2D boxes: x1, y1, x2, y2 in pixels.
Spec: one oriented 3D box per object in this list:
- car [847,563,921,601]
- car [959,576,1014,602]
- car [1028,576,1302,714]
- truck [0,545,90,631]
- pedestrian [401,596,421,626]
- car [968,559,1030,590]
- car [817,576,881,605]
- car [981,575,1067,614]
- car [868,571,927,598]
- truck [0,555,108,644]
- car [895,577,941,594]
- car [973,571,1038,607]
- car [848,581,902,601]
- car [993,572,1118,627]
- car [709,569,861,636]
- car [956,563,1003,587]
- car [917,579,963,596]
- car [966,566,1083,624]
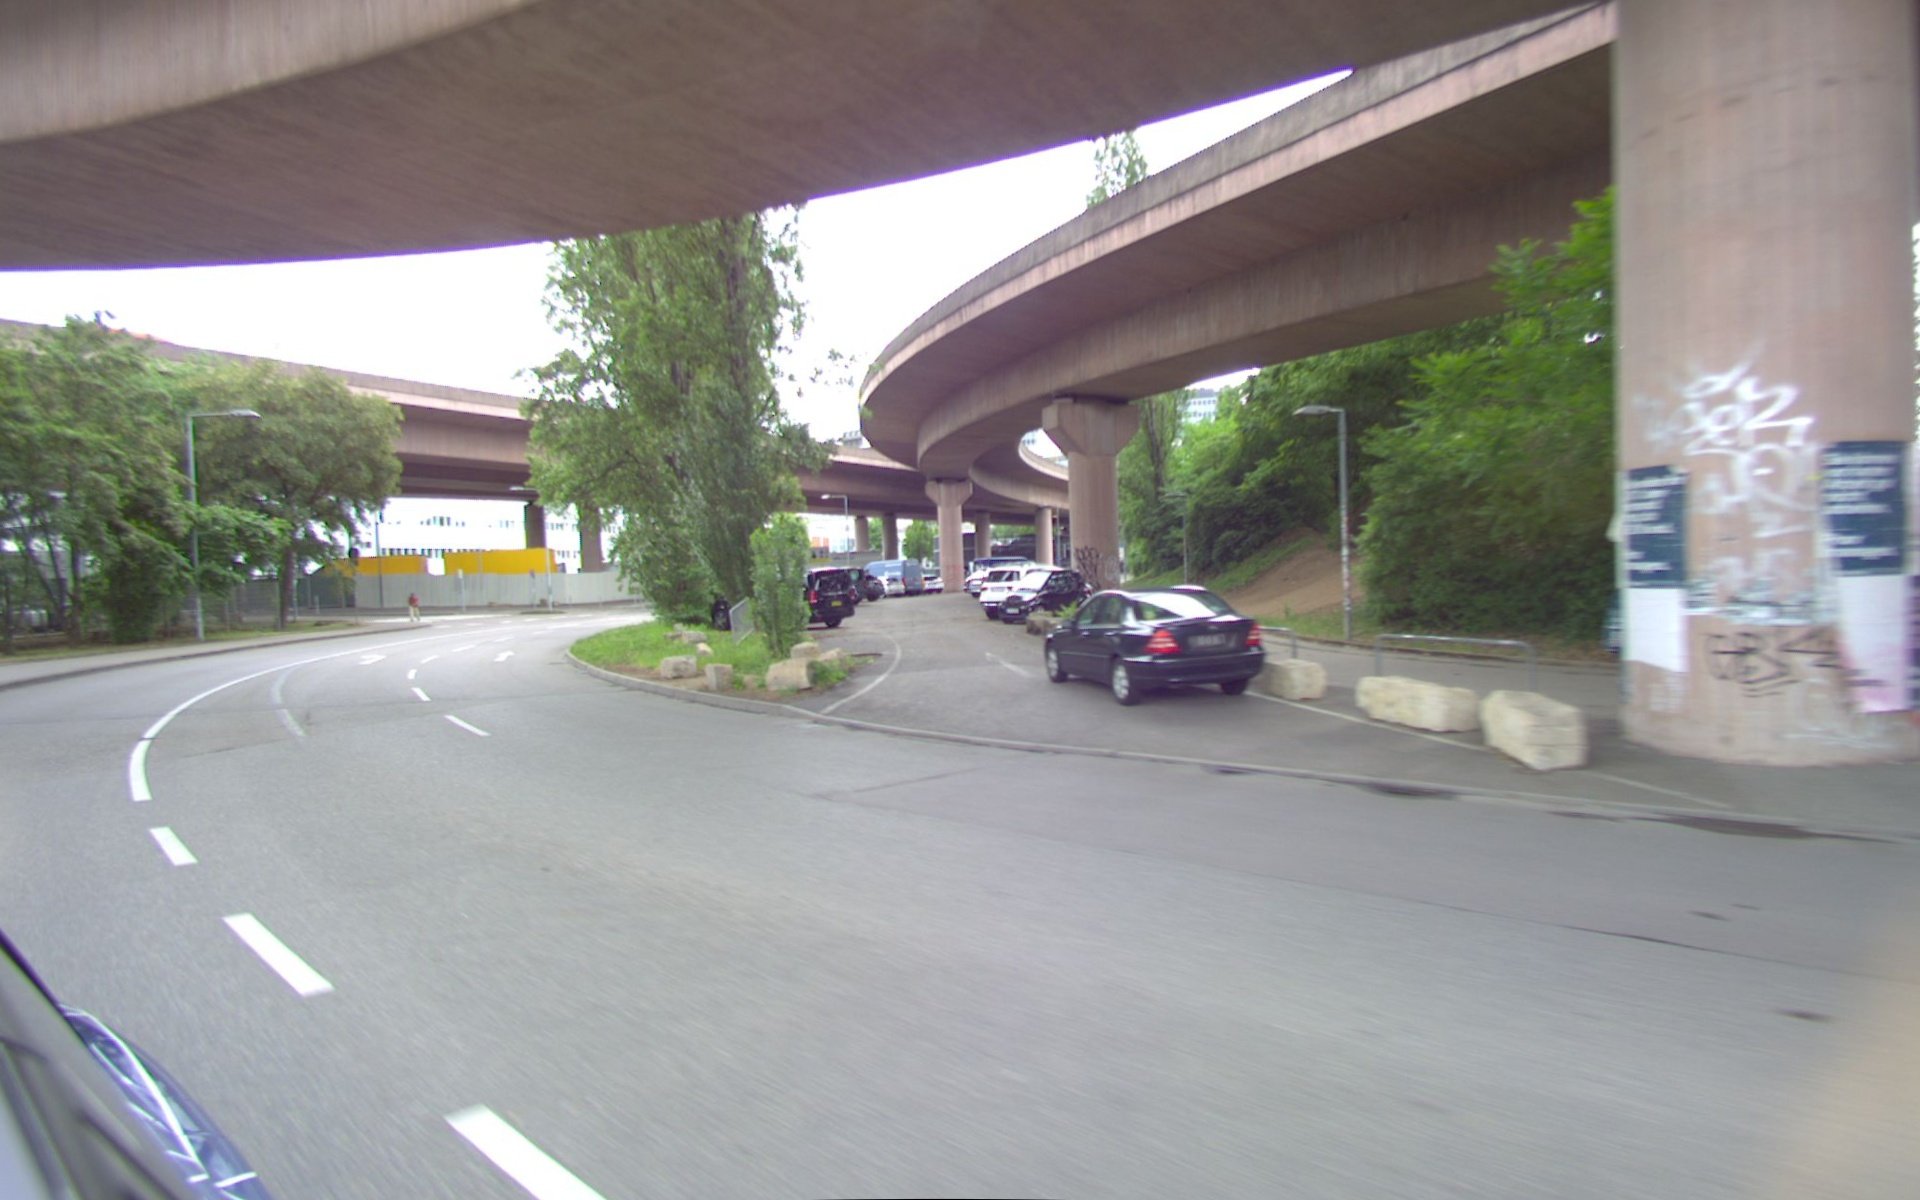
[{"bbox_3d":[-5.409,-1.297,71.326,5.687,2.600,1.803,2,1,42],"label":"car"},{"bbox_3d":[1.395,-0.561,51.962,1.395,1.244,2.942,0,2,36],"label":"car"},{"bbox_3d":[2.534,0.472,13.925,1.798,1.441,4.786,-4,2,-13],"label":"car"},{"bbox_3d":[-40.926,-0.430,40.208,2.249,3.524,10.170,0,1,14],"label":"truck"},{"bbox_3d":[-31.625,0.601,58.351,0.742,1.693,0.856,-1,1,-9],"label":"pedestrian"},{"bbox_3d":[2.473,-1.605,63.717,3.482,1.812,1.648,-2,2,-27],"label":"car"},{"bbox_3d":[-6.440,-0.572,58.551,3.616,1.576,1.341,2,1,32],"label":"car"},{"bbox_3d":[2.559,-0.238,39.767,3.371,1.399,1.377,-3,2,-41],"label":"car"},{"bbox_3d":[-4.638,-1.169,74.644,4.492,1.870,1.612,2,1,42],"label":"car"},{"bbox_3d":[-37.744,-0.024,39.733,2.251,3.434,6.378,0,1,17],"label":"truck"},{"bbox_3d":[-3.209,-1.123,77.207,3.627,1.243,1.338,2,1,41],"label":"car"},{"bbox_3d":[2.064,-0.523,45.541,1.320,1.498,2.935,0,2,43],"label":"car"},{"bbox_3d":[-5.727,-0.626,67.868,3.621,1.243,1.340,2,1,36],"label":"car"},{"bbox_3d":[2.875,-0.058,30.008,3.811,1.475,1.540,-3,2,-43],"label":"car"},{"bbox_3d":[-5.601,0.060,32.112,4.965,1.931,1.834,0,2,37],"label":"car"},{"bbox_3d":[2.197,-2.808,113.132,2.301,2.605,5.612,2,1,39],"label":"car"},{"bbox_3d":[-1.558,-0.967,78.742,3.627,1.243,1.338,2,1,41],"label":"car"},{"bbox_3d":[2.146,-0.197,32.635,1.734,1.720,4.010,0,2,39],"label":"car"}]
